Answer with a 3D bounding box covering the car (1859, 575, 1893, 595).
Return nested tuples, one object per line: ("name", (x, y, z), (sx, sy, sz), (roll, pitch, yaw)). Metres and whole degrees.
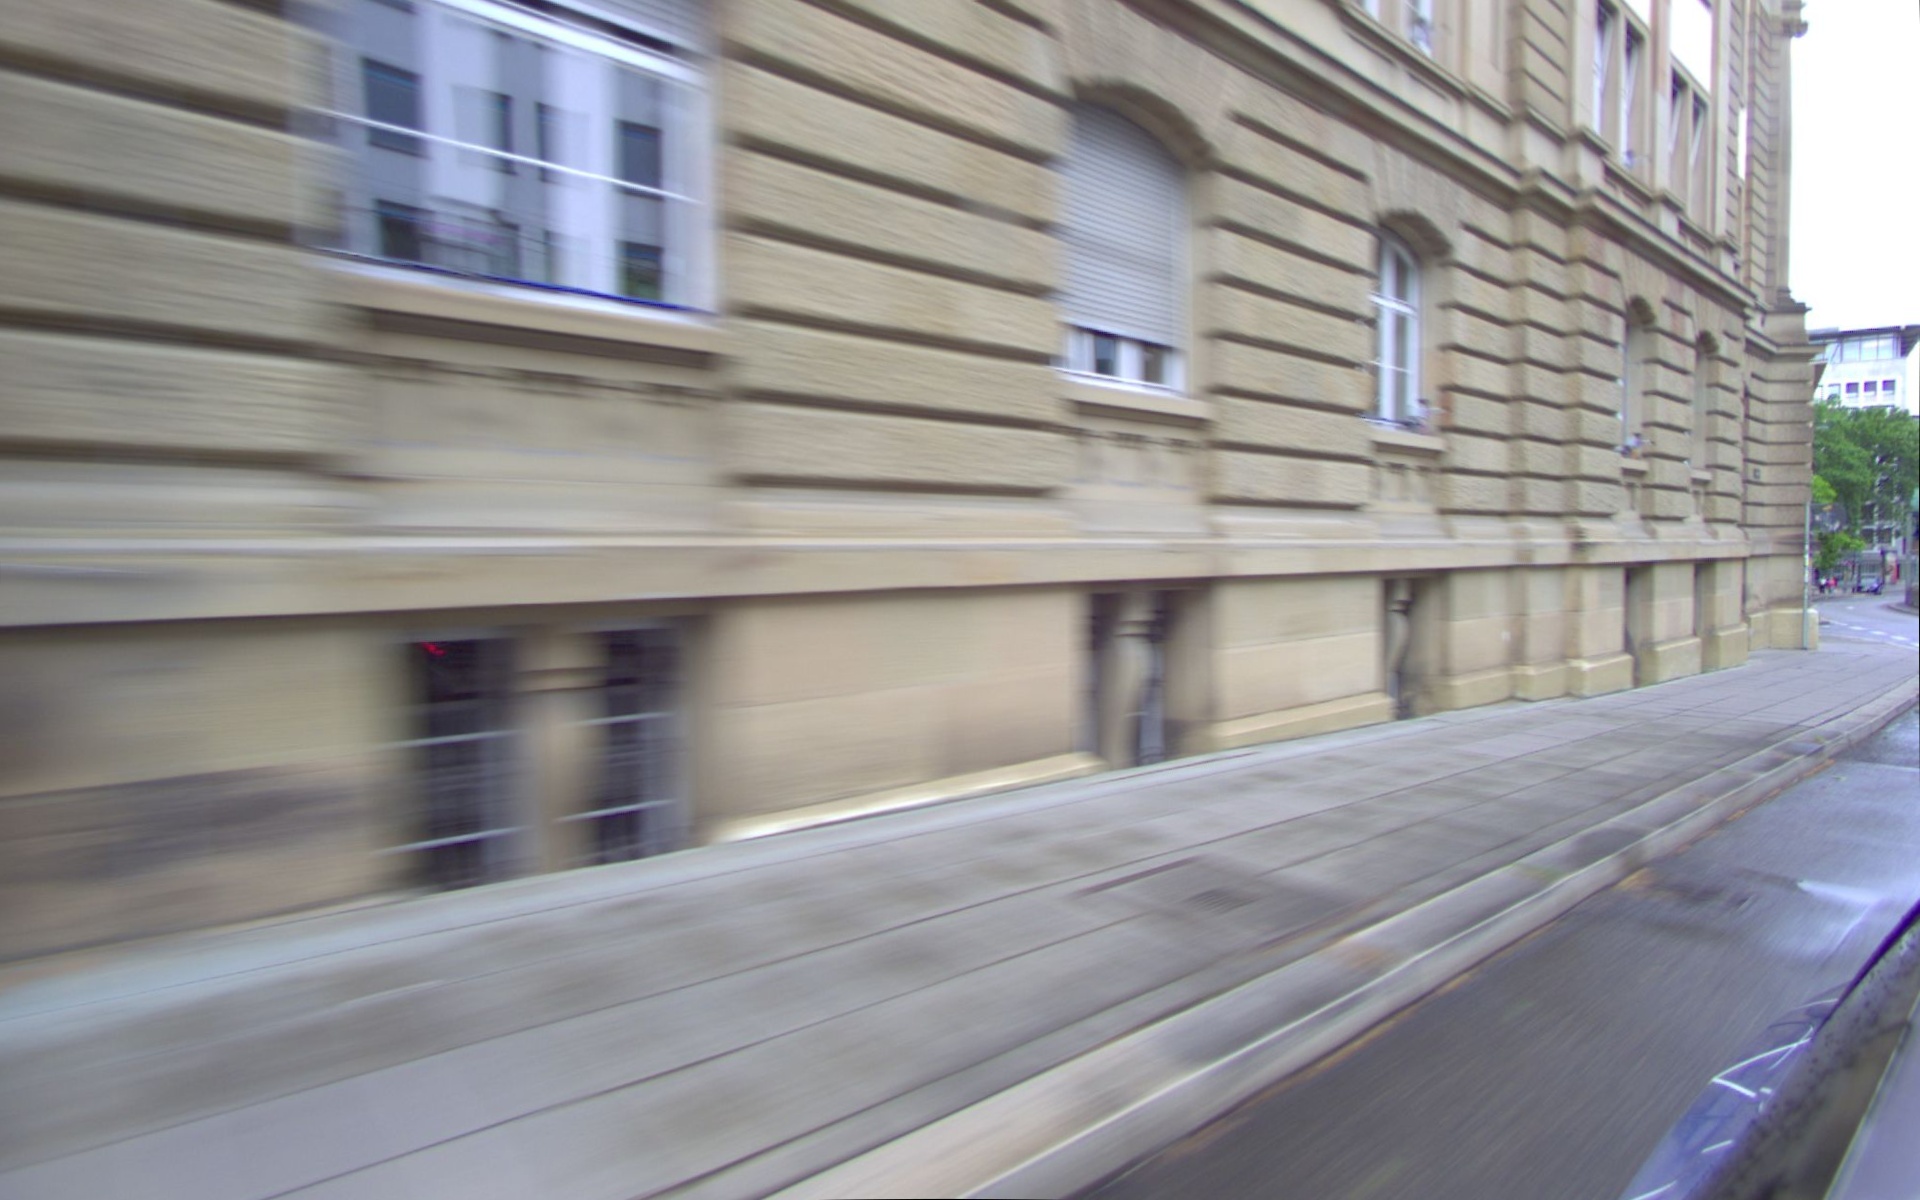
("car", (87.136, -1.429, 96.318), (1.989, 1.838, 3.947), (-1, 2, 37))
